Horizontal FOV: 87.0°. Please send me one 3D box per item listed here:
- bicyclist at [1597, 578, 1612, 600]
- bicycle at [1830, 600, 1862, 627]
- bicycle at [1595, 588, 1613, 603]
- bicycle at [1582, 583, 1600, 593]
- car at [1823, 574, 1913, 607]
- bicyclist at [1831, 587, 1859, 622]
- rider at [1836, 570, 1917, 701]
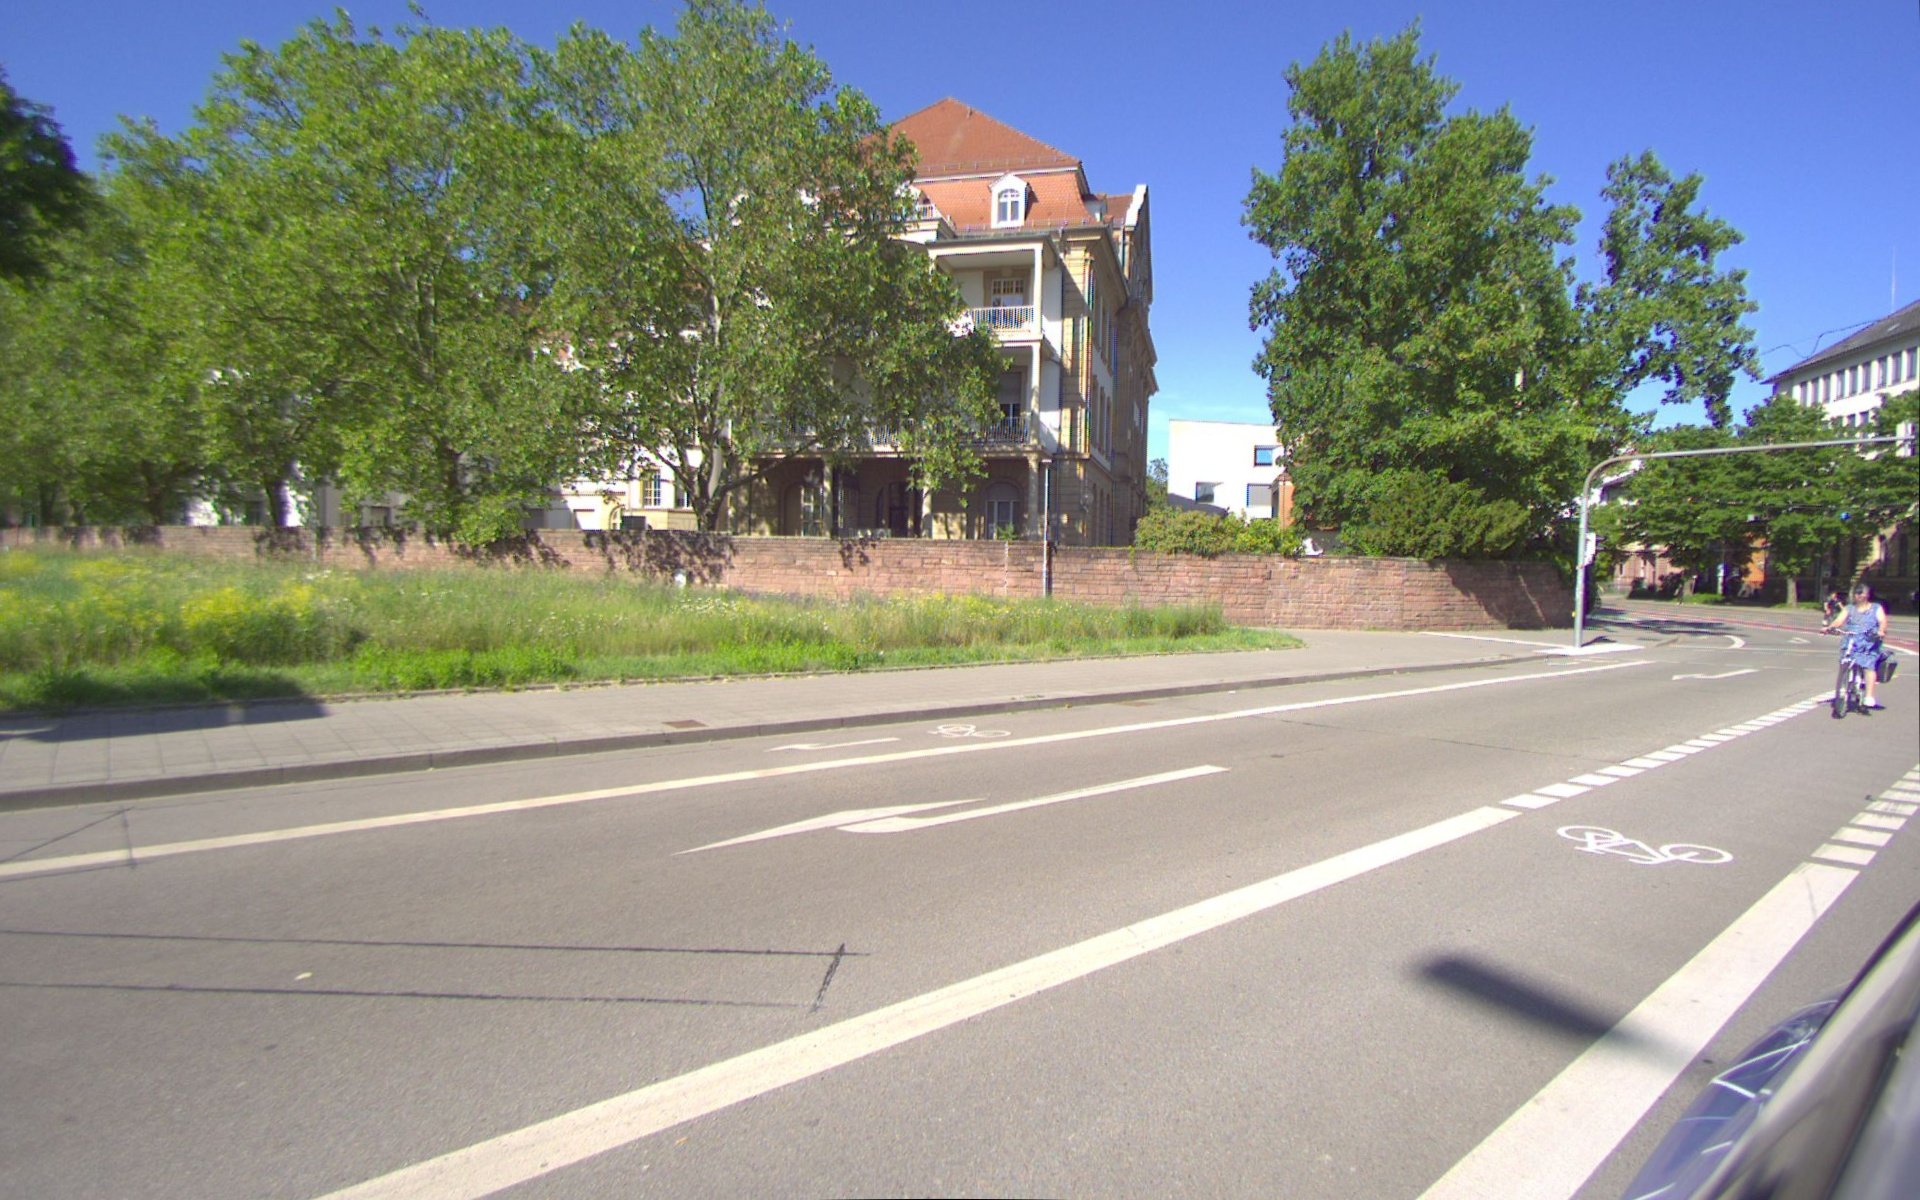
[{"bbox_3d":[42.893,-0.751,67.358,0.698,1.425,0.766,1,1,23],"label":"bicyclist"},{"bbox_3d":[34.683,0.510,39.616,1.723,1.018,0.711,0,1,-41],"label":"bicycle"},{"bbox_3d":[42.894,-0.321,67.386,0.704,0.955,1.771,1,1,22],"label":"bicycle"},{"bbox_3d":[64.811,-1.241,103.989,0.720,1.003,1.834,1,2,3],"label":"bicycle"},{"bbox_3d":[61.206,-0.650,68.254,4.615,2.038,2.004,1,2,-9],"label":"car"},{"bbox_3d":[34.515,0.174,39.459,0.764,1.333,0.711,0,1,-40],"label":"bicyclist"},{"bbox_3d":[12.006,0.431,13.255,0.971,1.640,0.658,0,1,-41],"label":"rider"}]
